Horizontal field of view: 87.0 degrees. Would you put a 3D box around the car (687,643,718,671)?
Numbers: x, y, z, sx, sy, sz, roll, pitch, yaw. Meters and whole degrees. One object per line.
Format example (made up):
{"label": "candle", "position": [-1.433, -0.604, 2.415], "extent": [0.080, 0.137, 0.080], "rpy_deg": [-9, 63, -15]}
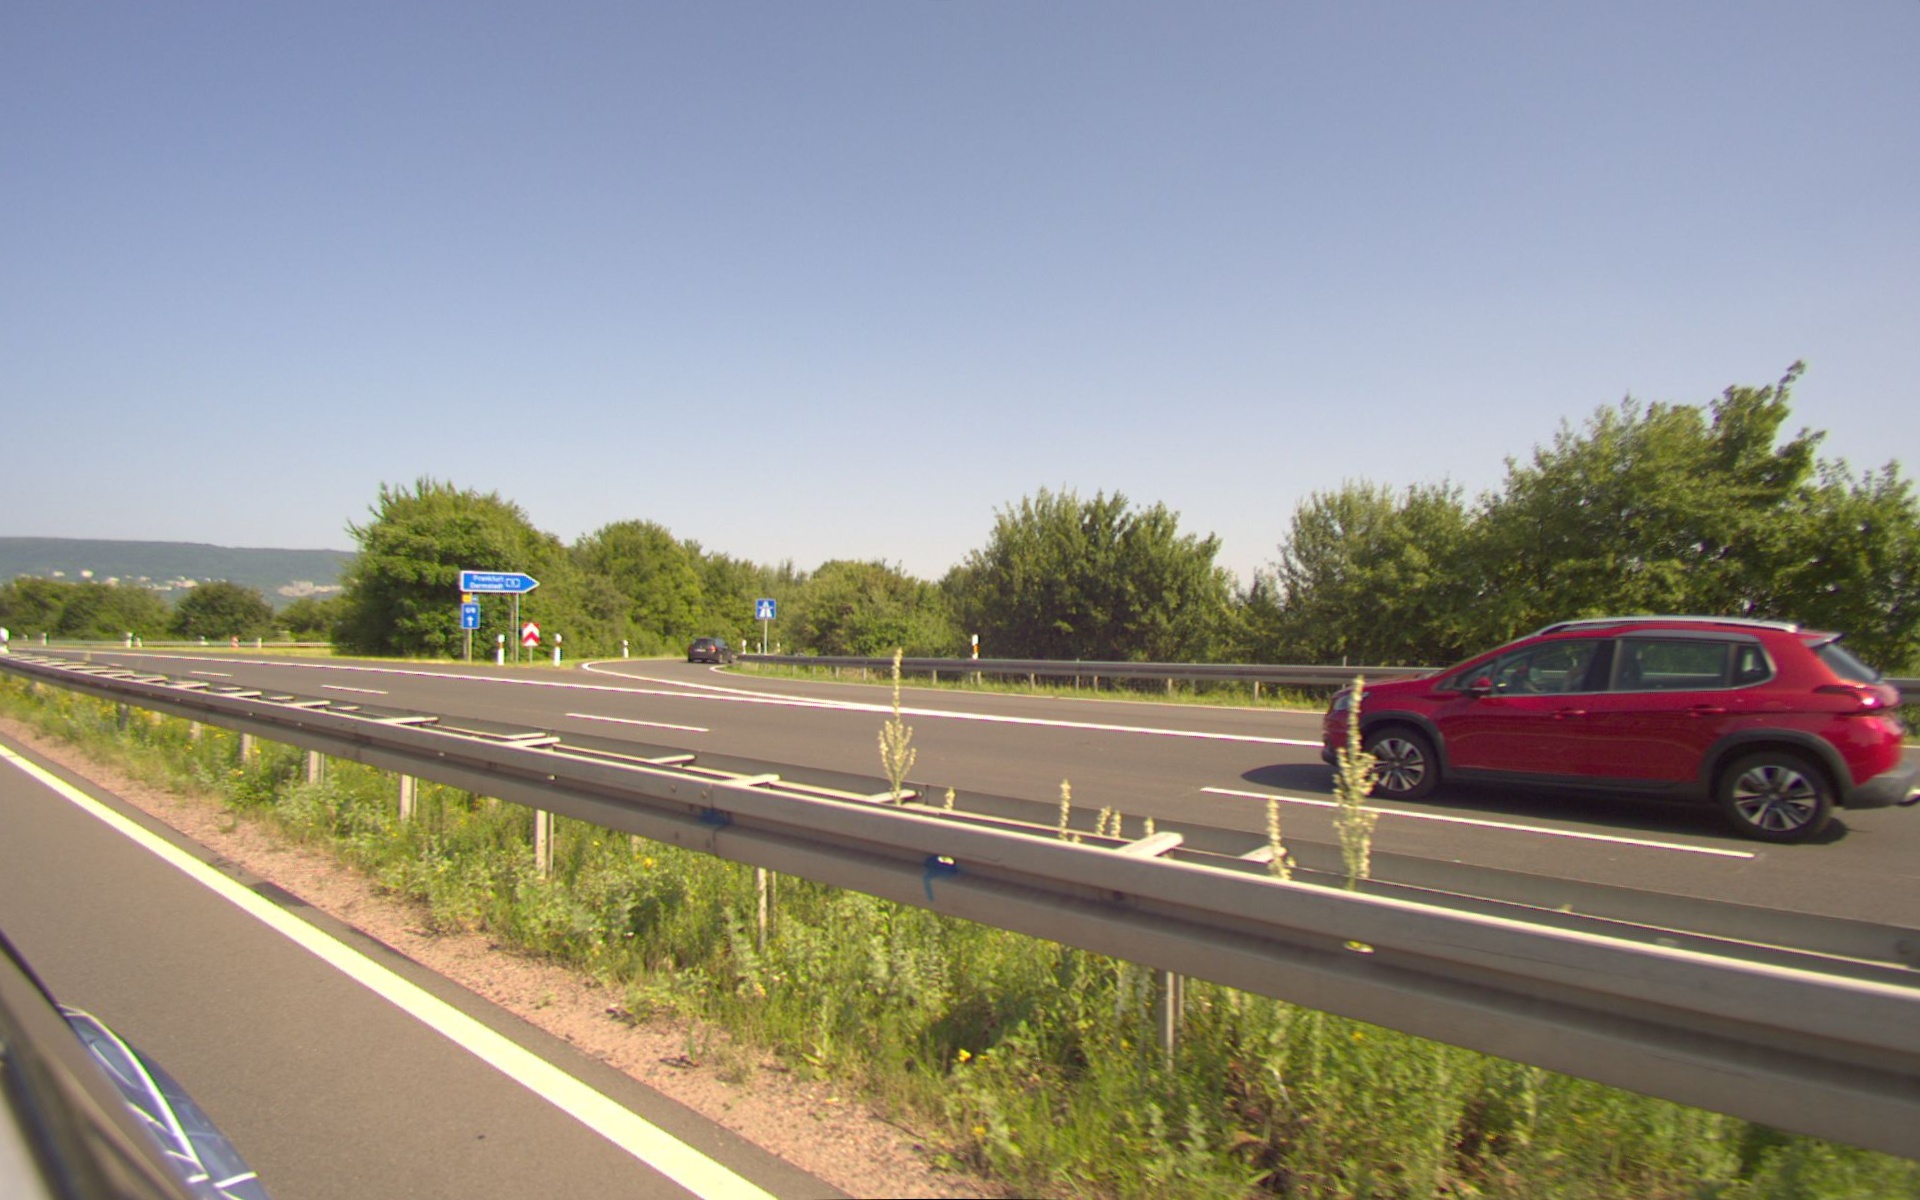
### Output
{"label": "car", "position": [-14.780, 3.287, 58.088], "extent": [1.571, 1.505, 4.826], "rpy_deg": [4, -4, -14]}

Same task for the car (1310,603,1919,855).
{"label": "car", "position": [5.268, 0.852, 8.247], "extent": [4.261, 1.586, 1.626], "rpy_deg": [-1, 0, 40]}
